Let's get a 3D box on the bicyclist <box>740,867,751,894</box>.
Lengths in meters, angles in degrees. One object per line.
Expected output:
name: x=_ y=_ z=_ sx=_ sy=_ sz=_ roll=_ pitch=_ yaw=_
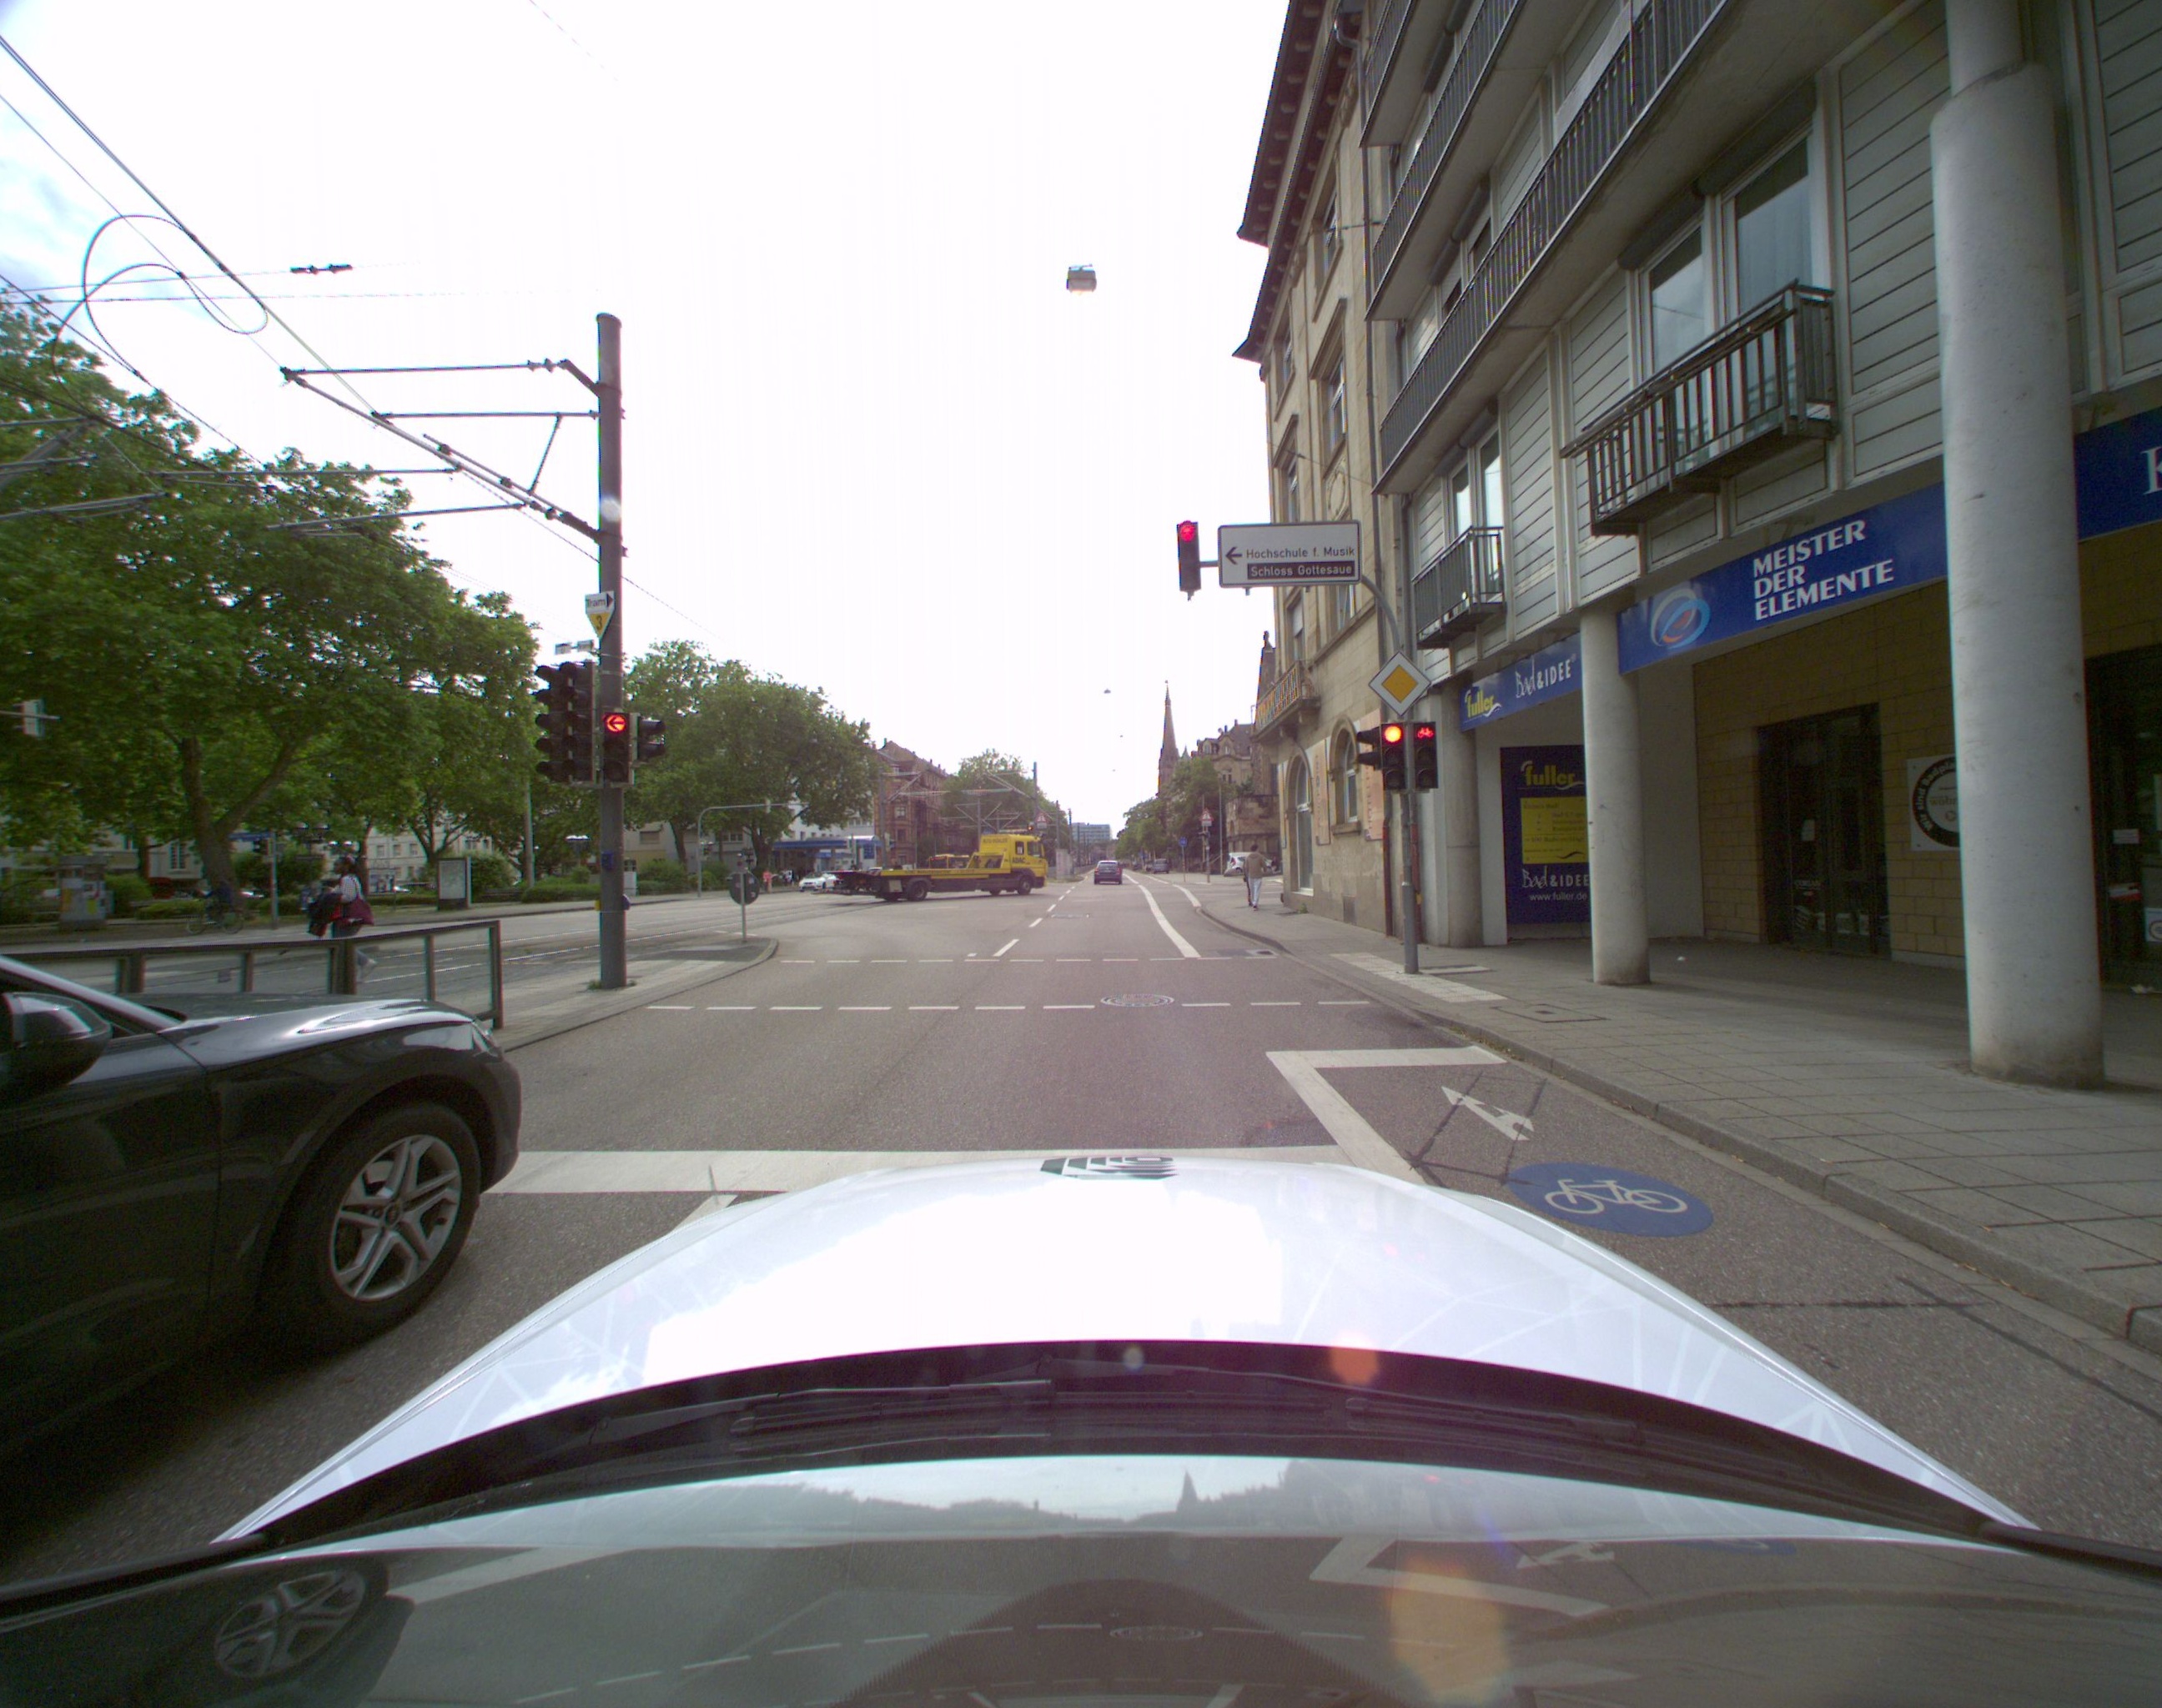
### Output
bicyclist: x=-22.689 y=1.799 z=55.075 sx=0.528 sy=1.784 sz=0.472 roll=-1 pitch=-1 yaw=21

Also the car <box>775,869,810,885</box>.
car: x=-28.745 y=2.283 z=81.321 sx=1.986 sy=1.530 sz=4.001 roll=0 pitch=-1 yaw=2

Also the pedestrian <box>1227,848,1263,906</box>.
pedestrian: x=4.804 y=0.652 z=23.820 sx=0.620 sy=1.653 sz=1.003 roll=-1 pitch=-1 yaw=39

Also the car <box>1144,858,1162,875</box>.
car: x=8.827 y=1.539 z=99.629 sx=1.986 sy=2.014 sz=4.001 roll=0 pitch=-1 yaw=1

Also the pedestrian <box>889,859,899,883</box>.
pedestrian: x=-12.012 y=1.081 z=52.361 sx=0.544 sy=1.537 sz=0.465 roll=0 pitch=-1 yaw=-3

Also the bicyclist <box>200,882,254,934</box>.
bicyclist: x=-28.446 y=1.779 z=27.132 sx=1.041 sy=1.683 sz=0.641 roll=0 pitch=-1 yaw=-19

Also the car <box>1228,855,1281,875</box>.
car: x=13.753 y=0.878 z=64.731 sx=3.785 sy=1.601 sz=2.001 roll=0 pitch=-1 yaw=1

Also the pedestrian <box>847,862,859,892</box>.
pedestrian: x=-13.920 y=1.397 z=49.708 sx=0.571 sy=1.794 sz=0.518 roll=0 pitch=-1 yaw=-3

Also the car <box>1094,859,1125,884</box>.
car: x=1.743 y=1.061 z=50.916 sx=1.829 sy=1.469 sz=3.992 roll=0 pitch=-1 yaw=0

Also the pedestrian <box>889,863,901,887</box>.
pedestrian: x=-11.827 y=1.340 z=51.827 sx=0.651 sy=1.537 sz=0.465 roll=0 pitch=-1 yaw=-3

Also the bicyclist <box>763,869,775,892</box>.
bicyclist: x=-21.463 y=1.786 z=55.977 sx=0.585 sy=1.568 sz=0.619 roll=0 pitch=-1 yaw=1

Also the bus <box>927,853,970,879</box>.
bus: x=-17.315 y=1.572 z=107.575 sx=3.073 sy=3.112 sz=13.098 roll=0 pitch=-1 yaw=2

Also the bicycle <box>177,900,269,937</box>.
bicycle: x=-28.483 y=2.131 z=27.071 sx=1.943 sy=1.136 sz=0.731 roll=0 pitch=-1 yaw=-19

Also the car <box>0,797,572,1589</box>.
car: x=-3.139 y=0.695 z=1.272 sx=1.873 sy=1.601 sz=4.358 roll=-1 pitch=-1 yaw=1

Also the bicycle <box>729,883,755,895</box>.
bicycle: x=-22.927 y=2.375 z=55.061 sx=1.665 sy=0.773 sz=0.659 roll=-1 pitch=-1 yaw=22

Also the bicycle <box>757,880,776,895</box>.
bicycle: x=-21.472 y=2.277 z=55.626 sx=0.520 sy=1.017 sz=1.937 roll=0 pitch=-1 yaw=2

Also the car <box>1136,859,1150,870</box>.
car: x=9.716 y=1.664 z=128.441 sx=1.986 sy=1.607 sz=4.165 roll=-3 pitch=-1 yaw=1

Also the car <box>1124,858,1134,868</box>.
car: x=10.208 y=1.855 z=172.108 sx=1.986 sy=2.014 sz=4.001 roll=0 pitch=-1 yaw=2

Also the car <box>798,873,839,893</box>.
car: x=-19.144 y=2.090 z=59.526 sx=1.628 sy=1.325 sz=4.001 roll=0 pitch=-1 yaw=2

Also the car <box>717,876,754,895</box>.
car: x=-29.930 y=2.729 z=70.628 sx=1.892 sy=1.557 sz=3.828 roll=0 pitch=-1 yaw=-6

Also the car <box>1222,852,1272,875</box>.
car: x=13.864 y=0.770 z=68.143 sx=3.785 sy=1.904 sz=2.001 roll=0 pitch=-1 yaw=1

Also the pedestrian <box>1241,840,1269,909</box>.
pedestrian: x=4.727 y=0.550 z=22.147 sx=0.578 sy=1.813 sz=1.020 roll=0 pitch=-1 yaw=21

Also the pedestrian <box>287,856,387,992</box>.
pedestrian: x=-9.735 y=0.873 z=10.662 sx=0.663 sy=1.680 sz=0.874 roll=-1 pitch=-1 yaw=40

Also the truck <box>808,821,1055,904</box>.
truck: x=-5.669 y=0.301 z=33.187 sx=2.604 sy=2.941 sz=10.239 roll=-1 pitch=-1 yaw=45

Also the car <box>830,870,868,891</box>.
car: x=-18.807 y=2.131 z=66.156 sx=1.887 sy=1.557 sz=3.837 roll=0 pitch=-1 yaw=2

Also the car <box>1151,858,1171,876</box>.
car: x=8.811 y=1.424 z=90.098 sx=1.986 sy=2.014 sz=4.001 roll=0 pitch=-1 yaw=1
